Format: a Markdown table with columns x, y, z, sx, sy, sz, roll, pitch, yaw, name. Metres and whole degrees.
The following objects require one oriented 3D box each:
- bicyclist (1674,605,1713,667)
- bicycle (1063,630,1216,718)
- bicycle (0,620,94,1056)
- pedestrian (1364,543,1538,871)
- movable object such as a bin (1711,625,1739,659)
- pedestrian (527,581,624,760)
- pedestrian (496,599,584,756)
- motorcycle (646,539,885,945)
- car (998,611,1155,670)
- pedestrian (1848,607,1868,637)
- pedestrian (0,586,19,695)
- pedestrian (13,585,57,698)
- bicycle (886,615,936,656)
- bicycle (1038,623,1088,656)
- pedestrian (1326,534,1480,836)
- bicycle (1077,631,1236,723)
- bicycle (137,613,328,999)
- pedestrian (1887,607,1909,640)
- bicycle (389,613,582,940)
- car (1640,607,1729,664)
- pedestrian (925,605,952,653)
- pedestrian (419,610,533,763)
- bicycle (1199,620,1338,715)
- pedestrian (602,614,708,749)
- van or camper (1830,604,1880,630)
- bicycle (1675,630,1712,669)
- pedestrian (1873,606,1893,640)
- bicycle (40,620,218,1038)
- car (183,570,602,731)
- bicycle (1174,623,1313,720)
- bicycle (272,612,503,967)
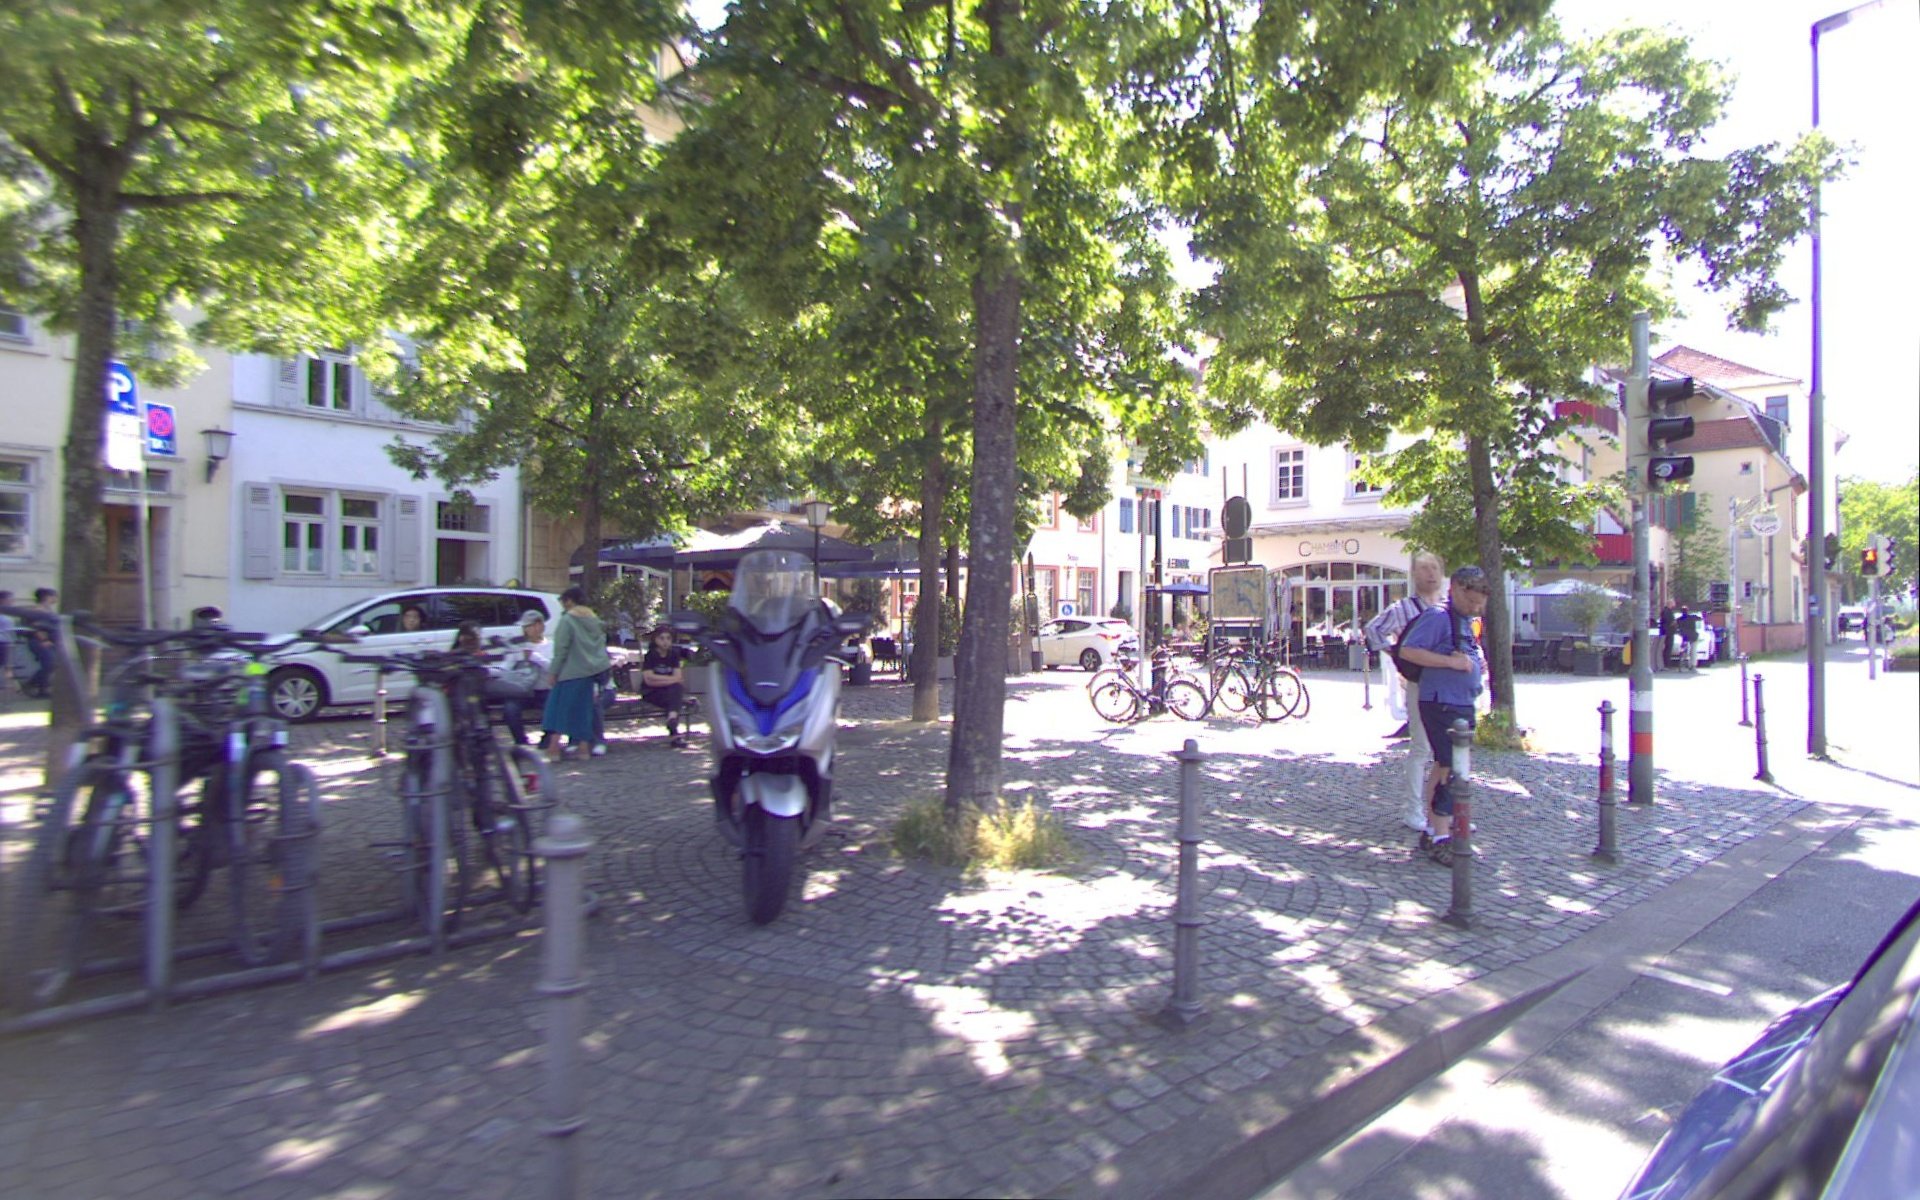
| x | y | z | sx | sy | sz | roll | pitch | yaw | name |
| --- | --- | --- | --- | --- | --- | --- | --- | --- | --- |
| 19.336 | 0.925 | 26.698 | 0.764 | 1.604 | 1.076 | -1 | -1 | 34 | bicyclist |
| 2.417 | 0.966 | 13.558 | 2.022 | 1.081 | 0.597 | 0 | 0 | -23 | bicycle |
| -3.095 | 0.654 | 3.276 | 1.484 | 1.134 | 0.289 | 1 | 0 | 44 | bicycle |
| 2.797 | 0.548 | 5.756 | 0.693 | 1.698 | 0.753 | 1 | 0 | 41 | pedestrian |
| 24.738 | 1.339 | 32.715 | 0.358 | 1.081 | 0.642 | 1 | -1 | -41 | movable object such as a bin |
| -3.448 | 0.611 | 9.090 | 0.458 | 1.537 | 0.680 | -2 | -3 | 40 | pedestrian |
| -3.928 | 0.708 | 9.463 | 0.625 | 1.400 | 0.534 | -4 | -3 | 41 | pedestrian |
| -0.794 | 0.502 | 4.845 | 0.750 | 1.483 | 2.299 | 0 | 1 | -1 | motorcycle |
| 3.093 | 1.114 | 27.399 | 3.986 | 1.475 | 1.803 | -2 | -4 | 44 | car |
| 53.234 | 1.281 | 60.010 | 0.760 | 1.735 | 0.687 | 3 | 1 | 36 | pedestrian |
| -14.204 | 0.598 | 14.830 | 0.569 | 1.582 | 0.531 | -2 | -2 | 41 | pedestrian |
| -13.255 | 0.583 | 14.501 | 0.411 | 1.582 | 0.400 | 1 | 0 | 41 | pedestrian |
| -1.598 | 1.159 | 33.340 | 0.654 | 1.296 | 1.741 | 0 | -2 | 37 | bicycle |
| 3.915 | 1.501 | 38.437 | 1.871 | 1.208 | 0.630 | -1 | -2 | 40 | bicycle |
| 2.866 | 0.502 | 6.531 | 0.693 | 1.794 | 0.753 | 1 | 0 | 41 | pedestrian |
| 2.542 | 0.962 | 13.045 | 2.022 | 1.081 | 0.597 | 0 | 0 | -23 | bicycle |
| -2.692 | 0.634 | 3.693 | 1.484 | 1.134 | 0.289 | 1 | 0 | 44 | bicycle |
| 47.761 | 1.193 | 51.555 | 0.761 | 1.616 | 0.685 | -1 | -2 | 41 | pedestrian |
| -2.044 | 0.638 | 4.266 | 0.289 | 1.134 | 1.485 | 1 | 0 | -43 | bicycle |
| 21.965 | 1.017 | 30.613 | 1.874 | 1.598 | 4.659 | -1 | -1 | 39 | car |
| -0.835 | 1.131 | 39.696 | 0.693 | 1.821 | 0.753 | 1 | 0 | 41 | pedestrian |
| -4.368 | 0.754 | 9.132 | 0.625 | 1.298 | 0.743 | -4 | -3 | 40 | pedestrian |
| 4.195 | 0.912 | 13.944 | 0.511 | 1.214 | 2.006 | 1 | -3 | -29 | bicycle |
| -3.052 | 0.782 | 10.131 | 0.693 | 1.268 | 0.753 | -1 | -1 | 41 | pedestrian |
| 82.896 | 1.537 | 93.815 | 2.420 | 2.313 | 6.133 | 0 | -1 | 32 | van or camper |
| 19.406 | 1.294 | 26.770 | 0.747 | 0.976 | 1.758 | -1 | -1 | 36 | bicycle |
| 47.356 | 1.192 | 51.920 | 0.737 | 1.720 | 0.920 | 0 | -1 | 41 | pedestrian |
| -2.893 | 0.659 | 3.479 | 1.484 | 1.134 | 0.289 | 1 | 0 | 44 | bicycle |
| -7.229 | 0.584 | 13.221 | 4.490 | 1.751 | 1.770 | 1 | -1 | -43 | car |
| 3.772 | 0.928 | 13.678 | 0.511 | 1.214 | 2.020 | 1 | -3 | -29 | bicycle |
| -2.302 | 0.634 | 3.990 | 1.484 | 1.134 | 0.372 | 1 | 0 | 44 | bicycle |
